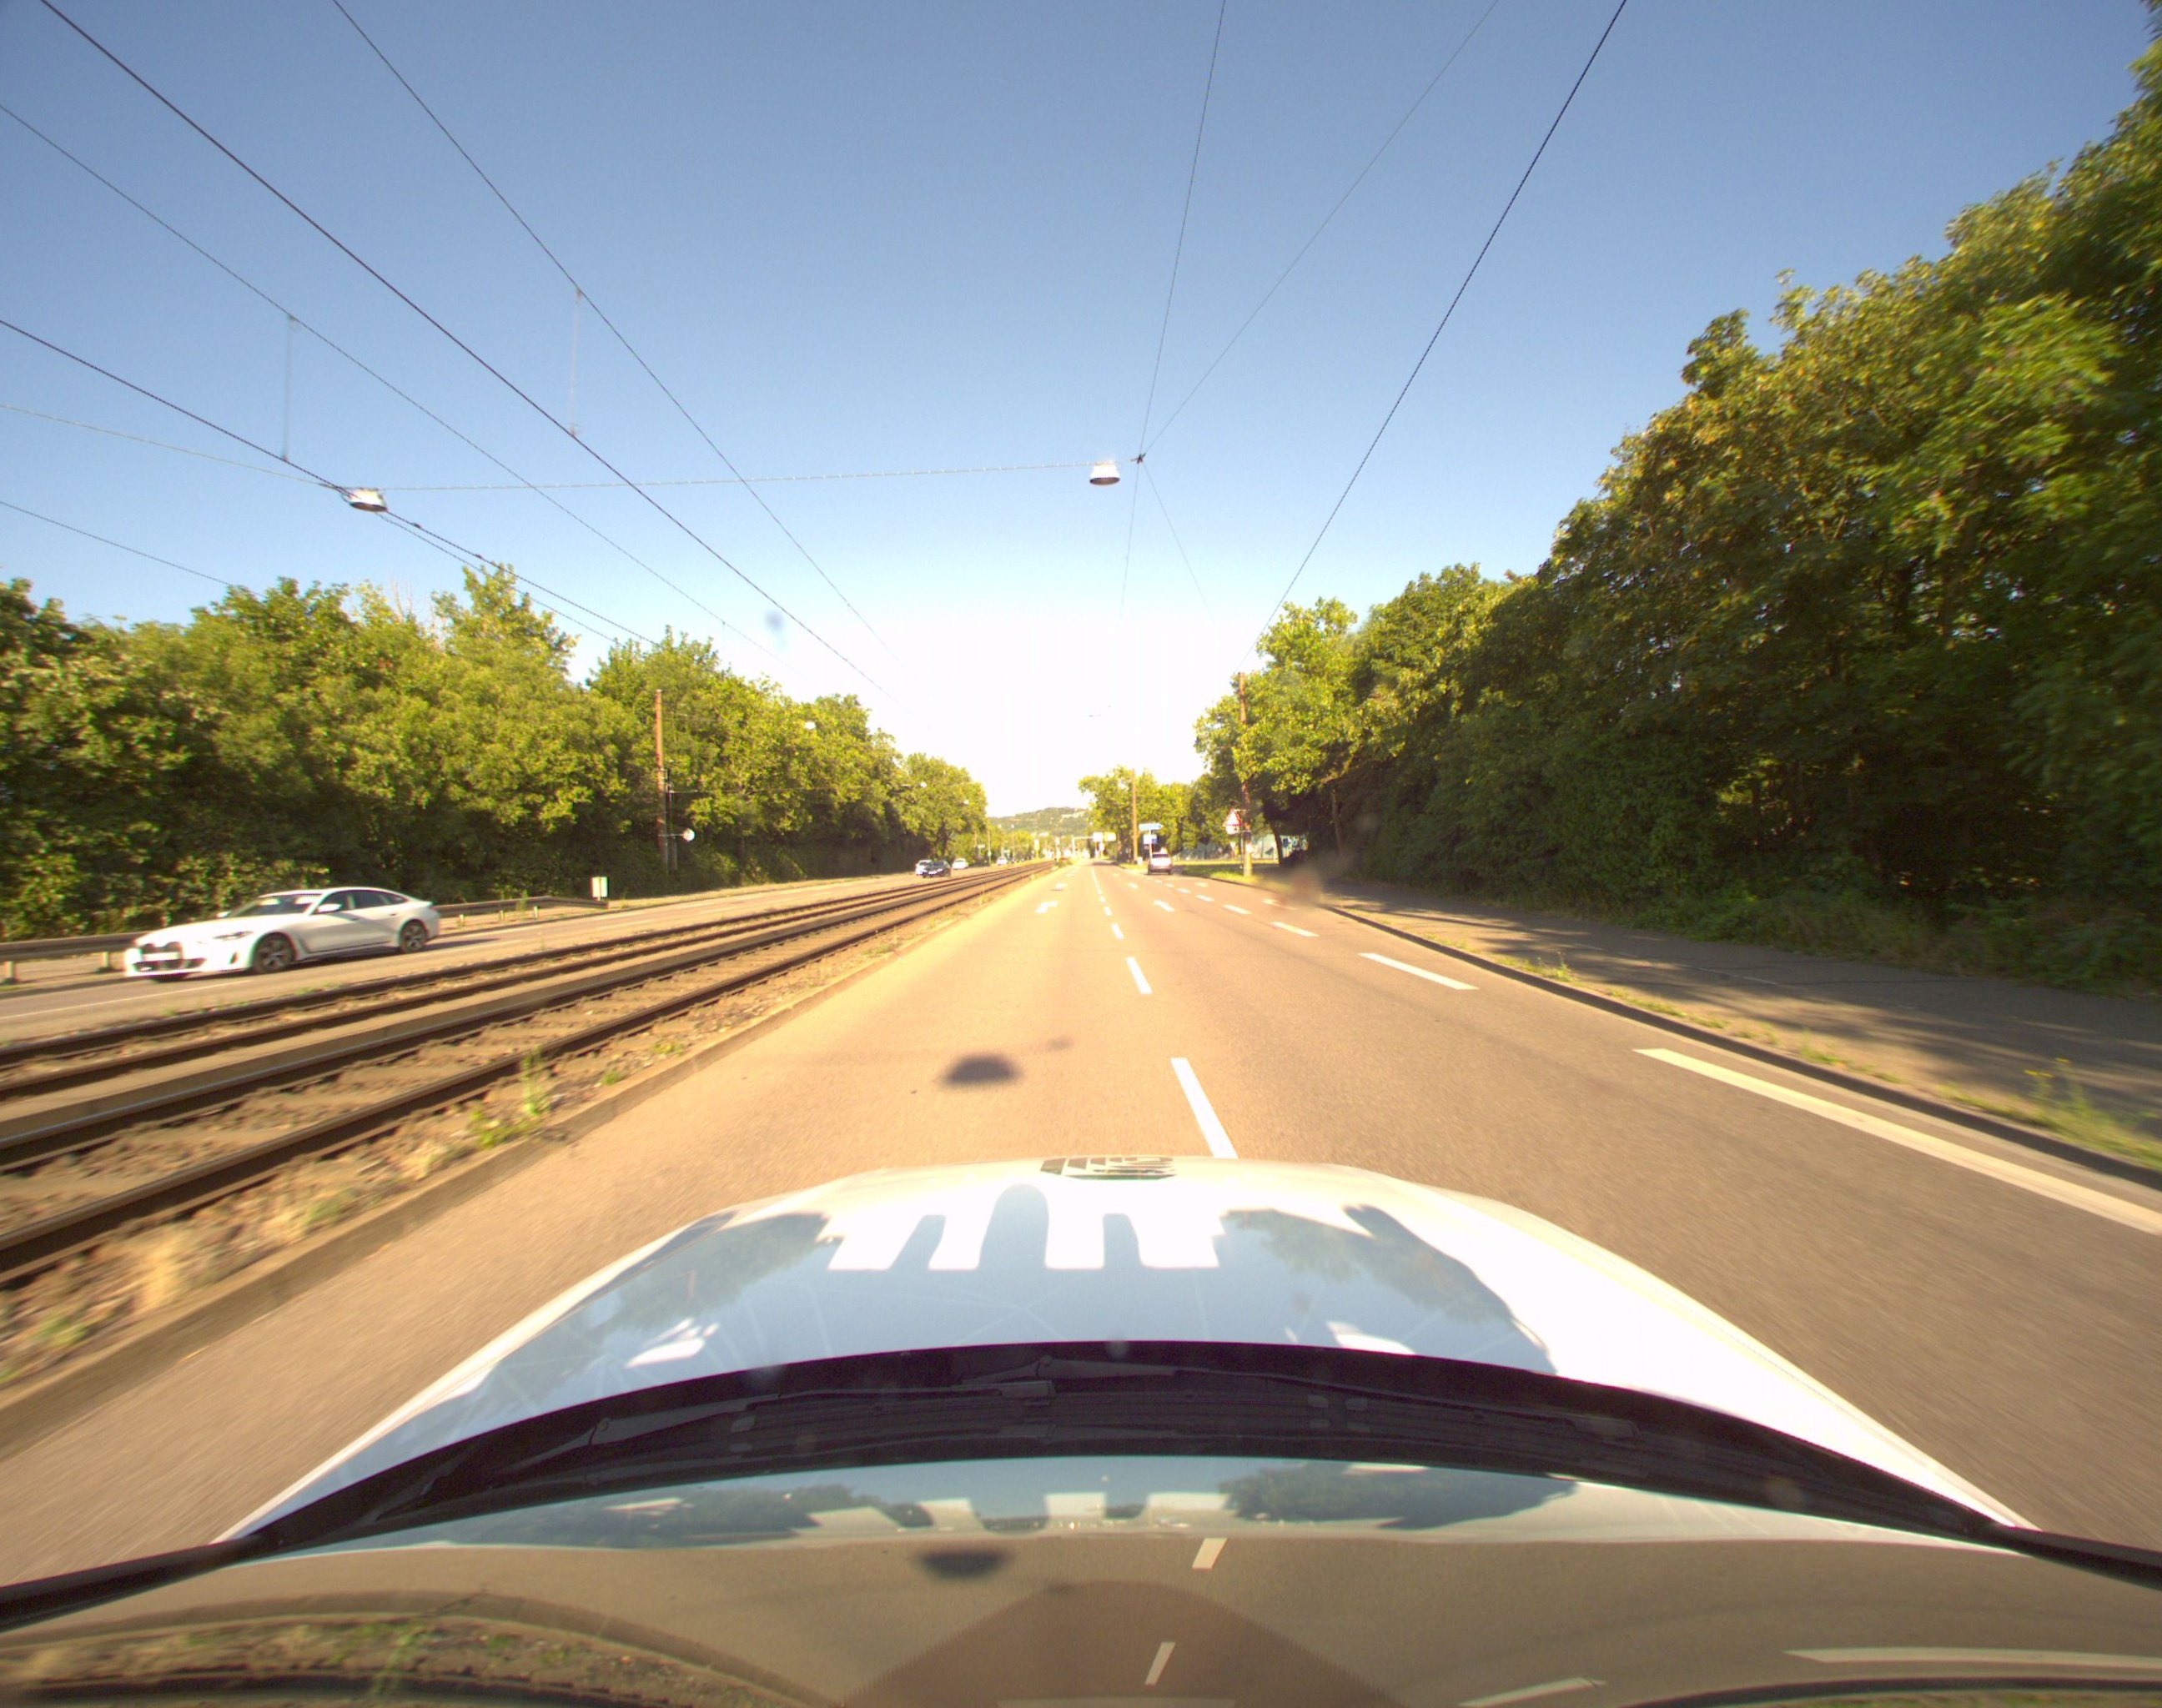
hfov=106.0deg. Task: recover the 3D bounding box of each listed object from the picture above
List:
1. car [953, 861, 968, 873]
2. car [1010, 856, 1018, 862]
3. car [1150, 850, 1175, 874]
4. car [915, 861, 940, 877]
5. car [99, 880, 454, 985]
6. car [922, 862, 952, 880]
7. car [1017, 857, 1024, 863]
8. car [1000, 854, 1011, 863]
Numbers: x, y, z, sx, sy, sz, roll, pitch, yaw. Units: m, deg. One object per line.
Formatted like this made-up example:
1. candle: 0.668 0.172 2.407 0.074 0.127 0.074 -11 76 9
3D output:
1. car: -19.194 2.041 130.071 1.842 1.734 4.926 -4 -1 -3
2. car: -16.840 1.346 205.715 1.706 1.468 4.345 -4 0 -2
3. car: 6.106 0.601 61.558 1.800 1.773 3.867 0 -1 5
4. car: -16.553 1.637 87.983 1.685 1.556 4.191 -3 -1 1
5. car: -14.441 1.305 15.161 1.750 1.414 4.875 -4 -1 -1
6. car: -12.360 1.437 70.050 1.651 1.432 4.502 -3 -1 1
7. car: -17.615 1.684 236.885 1.893 1.694 4.937 -3 0 -2
8. car: -16.252 0.925 175.428 1.958 1.707 4.940 -3 -1 -2
